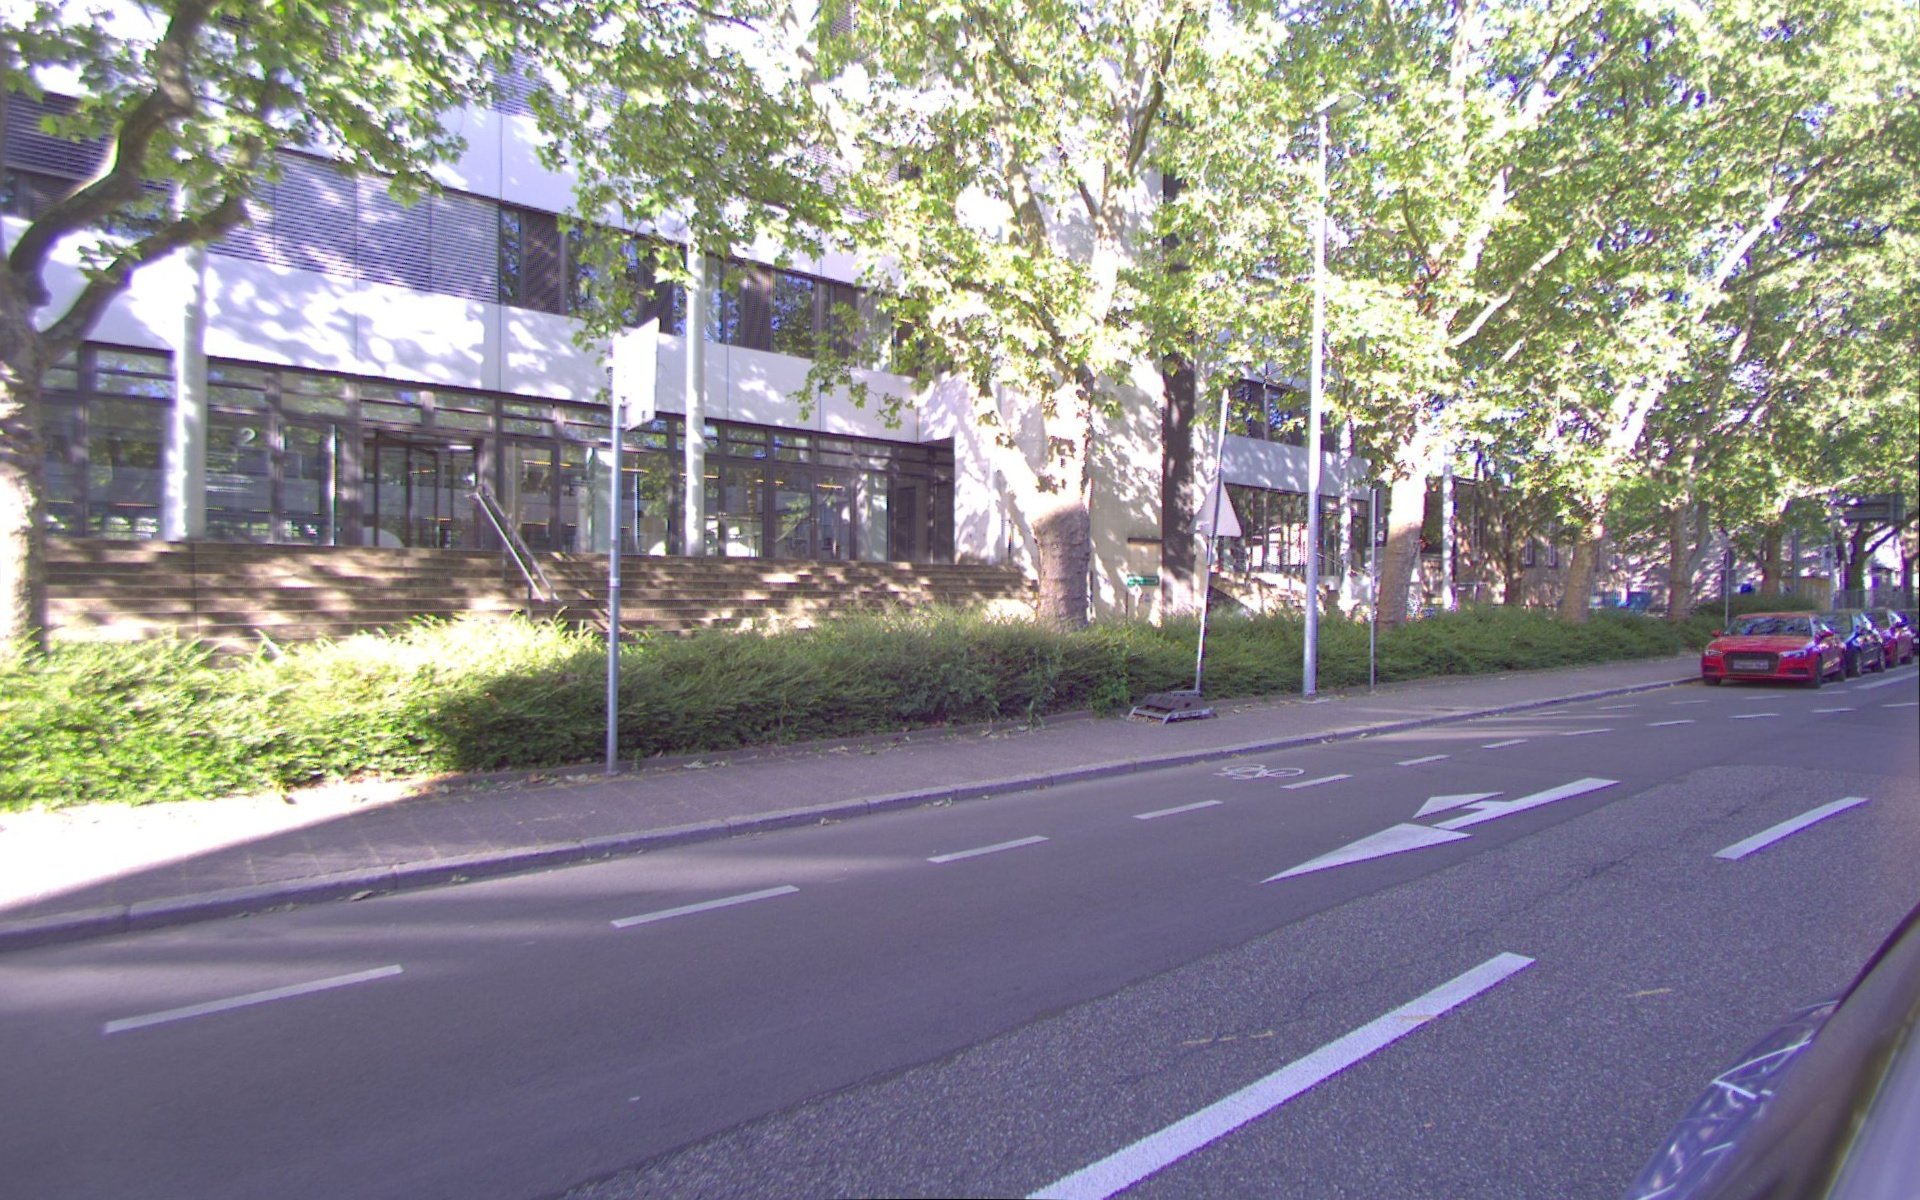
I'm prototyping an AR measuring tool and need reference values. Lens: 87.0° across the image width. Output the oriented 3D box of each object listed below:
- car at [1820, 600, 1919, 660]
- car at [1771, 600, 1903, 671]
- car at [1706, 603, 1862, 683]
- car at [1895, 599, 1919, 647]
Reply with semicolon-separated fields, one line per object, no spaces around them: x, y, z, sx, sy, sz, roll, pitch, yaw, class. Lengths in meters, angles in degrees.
23.910;0.728;26.403;3.714;1.452;1.665;0;0;-40;car
20.046;0.752;23.082;3.929;1.486;1.685;0;-1;-40;car
16.426;0.800;20.124;3.961;1.439;1.722;0;-2;-41;car
31.426;0.714;32.419;3.929;1.469;1.685;0;0;-40;car
